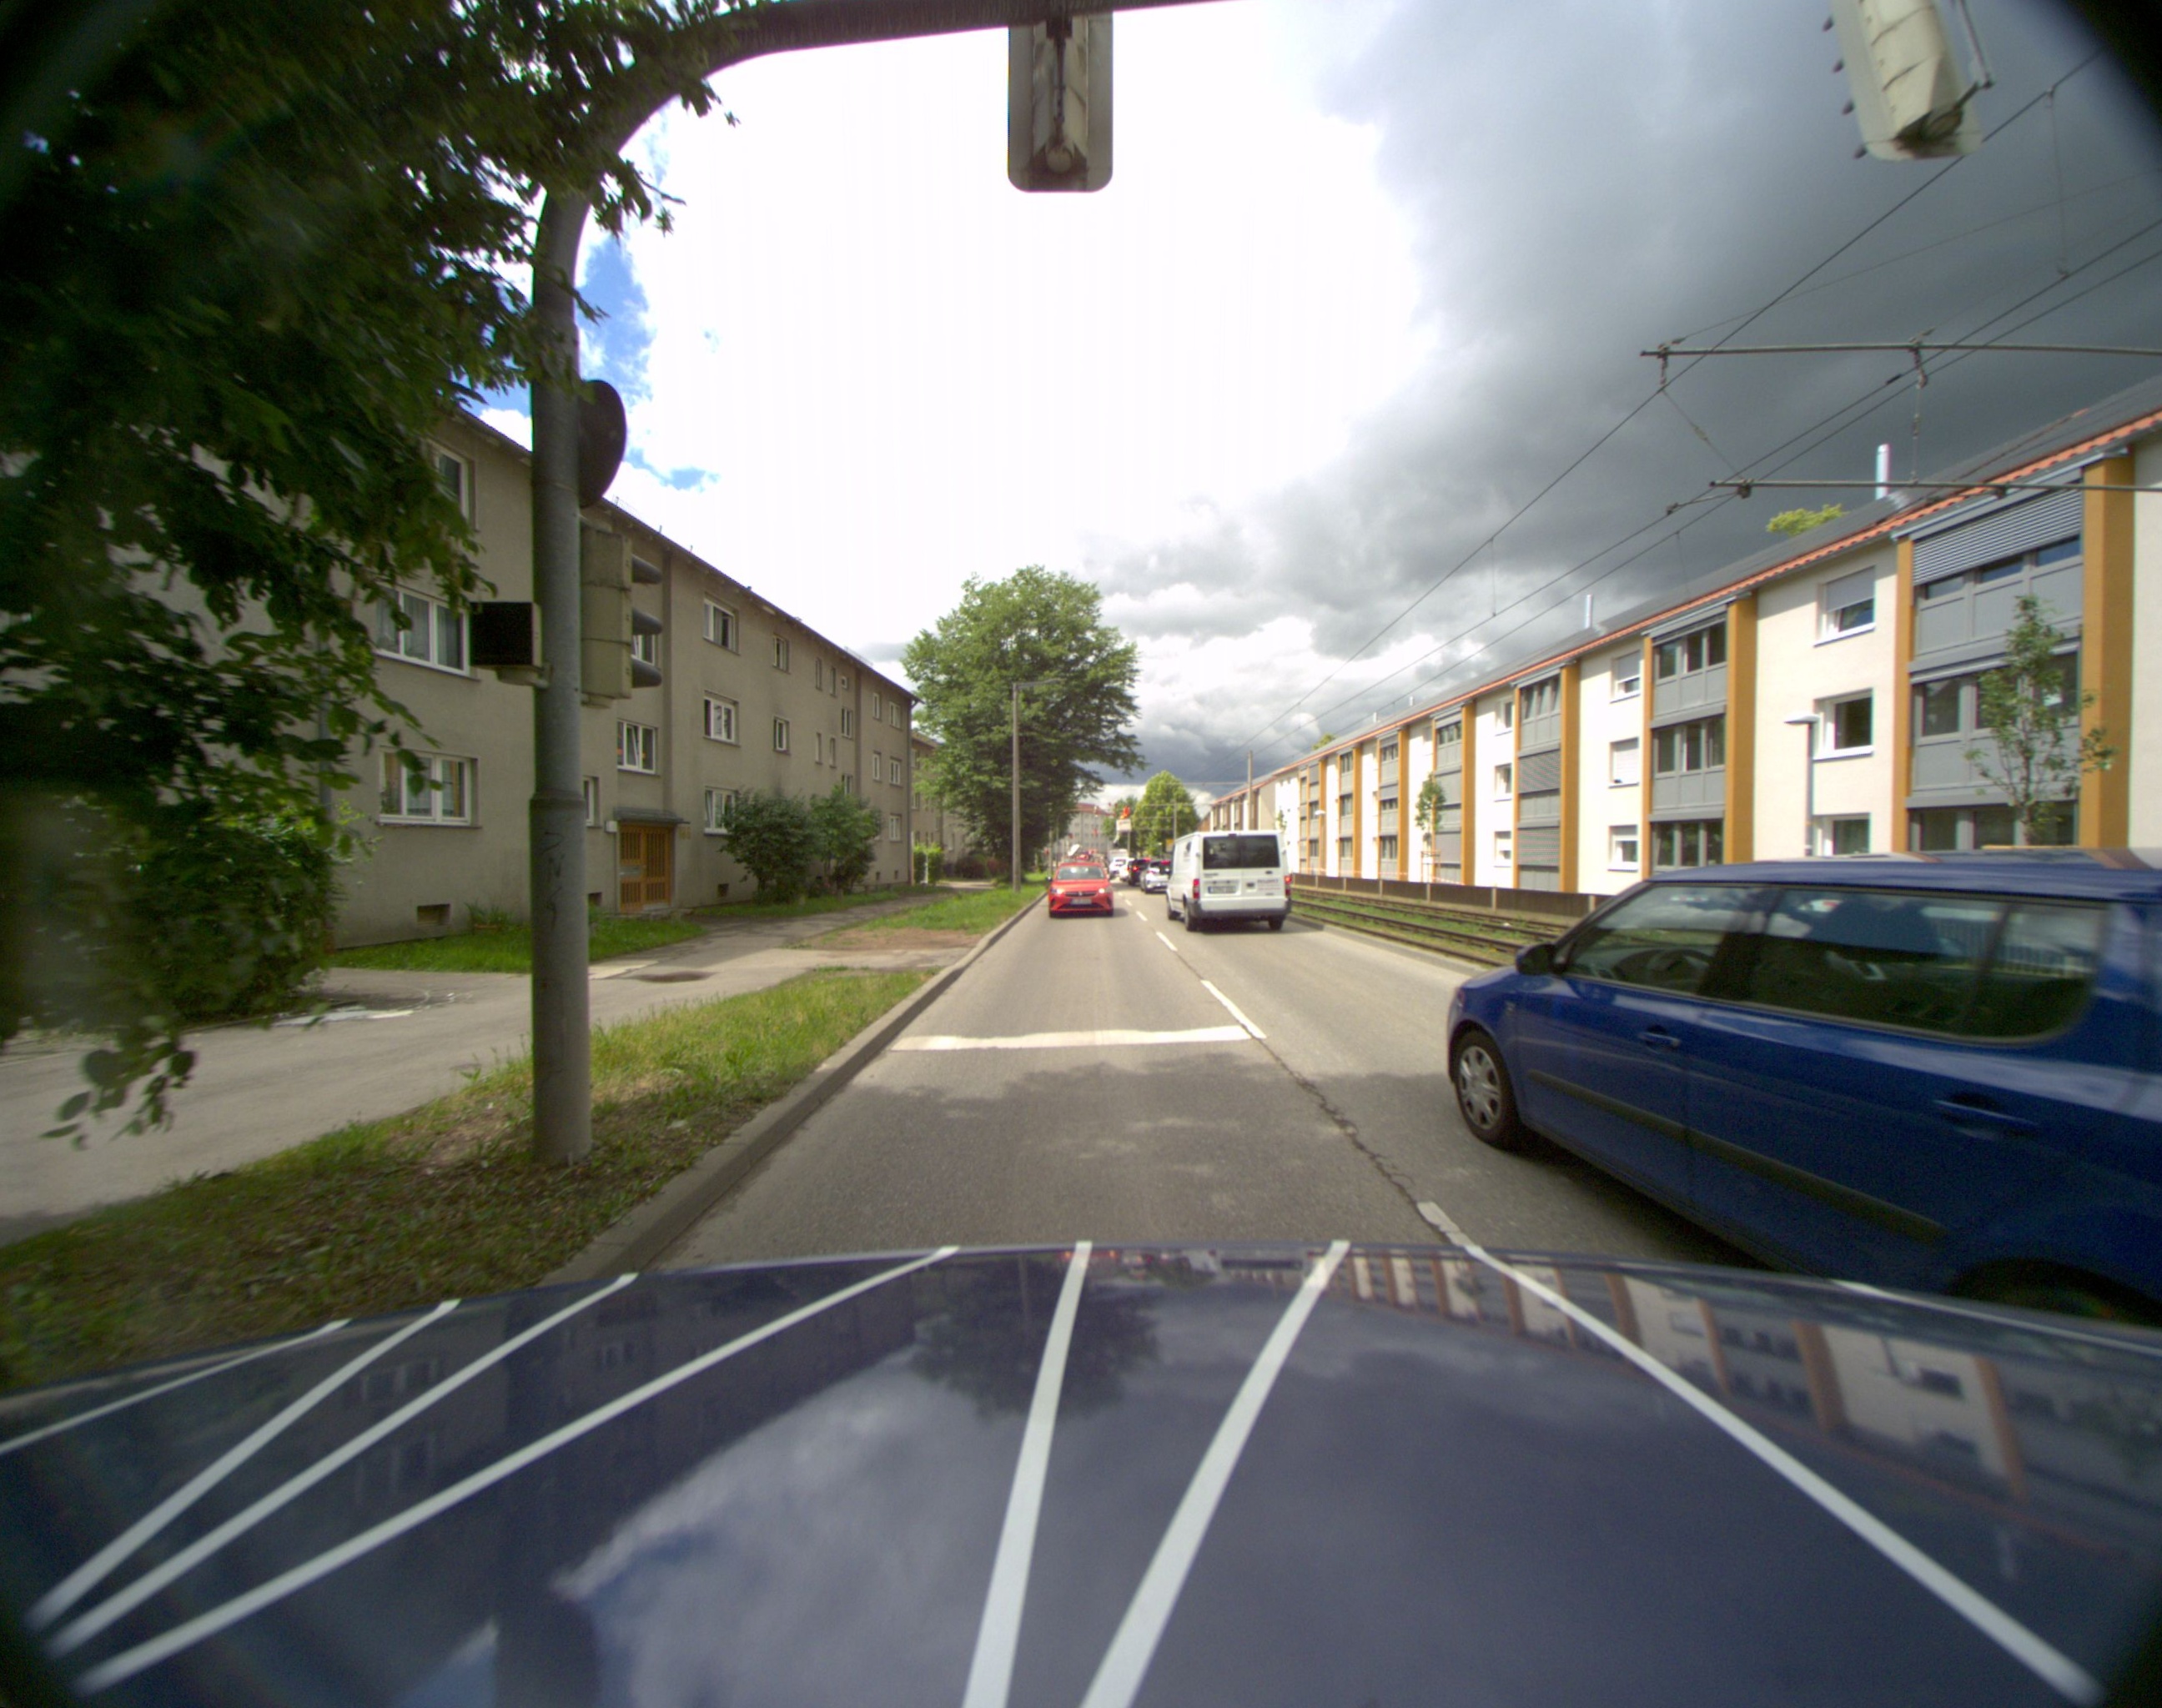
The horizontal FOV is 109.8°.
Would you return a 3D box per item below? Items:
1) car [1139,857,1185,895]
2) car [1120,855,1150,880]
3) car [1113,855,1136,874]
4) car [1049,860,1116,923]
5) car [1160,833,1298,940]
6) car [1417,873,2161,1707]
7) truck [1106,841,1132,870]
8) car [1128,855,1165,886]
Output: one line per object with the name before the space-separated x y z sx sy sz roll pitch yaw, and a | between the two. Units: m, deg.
car | 3.393 0.891 32.317 1.613 1.405 3.647 -2 1 2
car | 3.459 0.839 48.991 1.666 1.512 3.786 -2 0 0
car | 3.626 0.854 63.257 1.666 1.512 3.861 -2 0 0
car | 0.048 0.969 21.125 1.666 1.513 3.786 -1 0 0
car | 3.049 0.612 16.759 1.999 1.984 4.785 -1 0 -1
car | 2.762 0.877 2.537 1.585 1.477 3.806 -2 0 1
truck | 3.755 0.090 75.631 2.096 2.723 5.096 -2 1 -2
car | 3.490 0.838 40.903 1.666 1.512 3.678 -2 0 0
